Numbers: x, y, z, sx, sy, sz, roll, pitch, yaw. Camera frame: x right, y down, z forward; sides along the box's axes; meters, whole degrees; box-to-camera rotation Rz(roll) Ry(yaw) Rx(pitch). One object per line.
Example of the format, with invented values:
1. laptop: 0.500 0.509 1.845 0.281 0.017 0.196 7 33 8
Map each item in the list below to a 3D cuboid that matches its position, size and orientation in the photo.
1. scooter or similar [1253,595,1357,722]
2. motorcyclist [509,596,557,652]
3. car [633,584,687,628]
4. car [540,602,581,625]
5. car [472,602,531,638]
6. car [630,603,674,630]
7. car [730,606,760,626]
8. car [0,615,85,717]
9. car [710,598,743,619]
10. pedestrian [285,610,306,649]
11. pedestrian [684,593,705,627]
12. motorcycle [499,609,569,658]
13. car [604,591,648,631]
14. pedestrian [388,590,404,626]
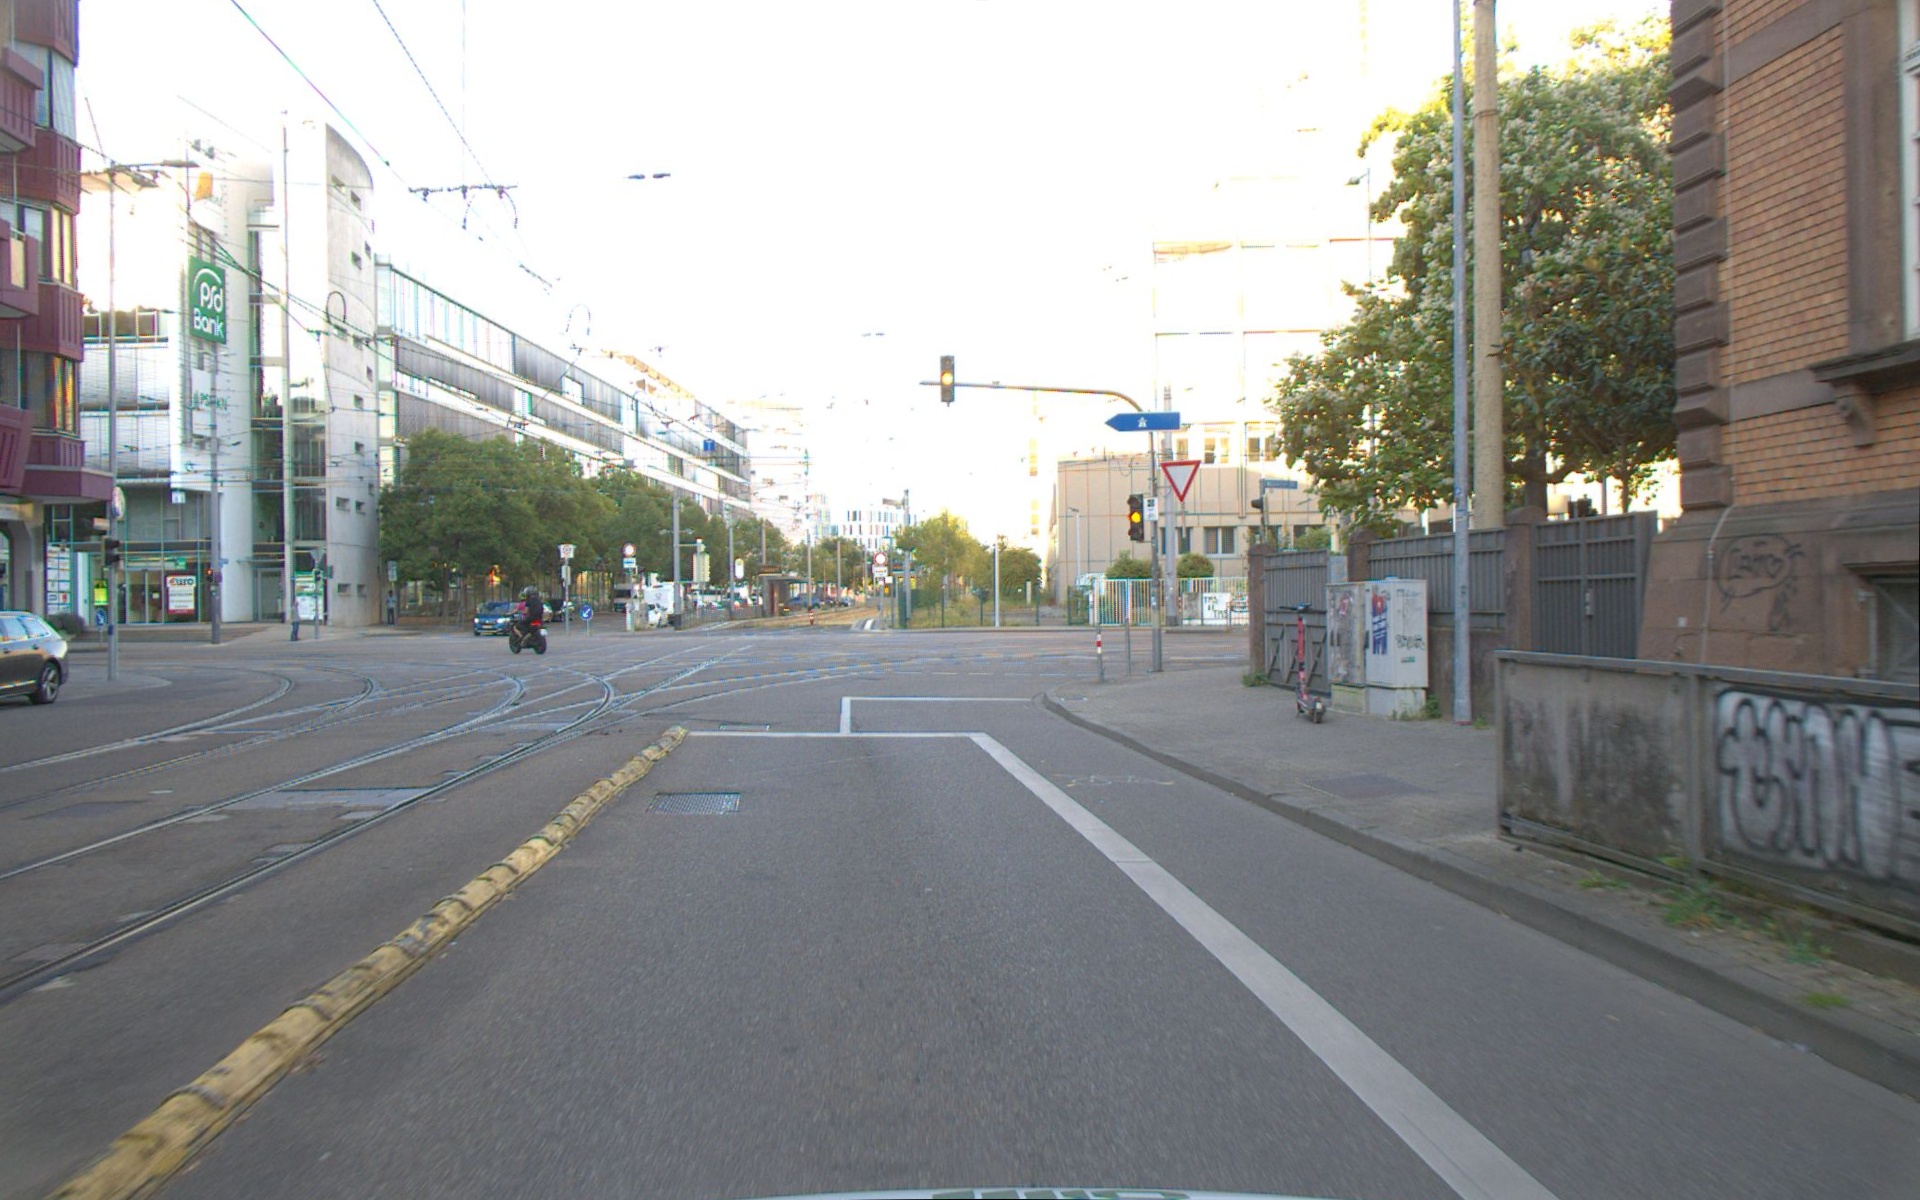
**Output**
1. scooter or similar: 3.725 0.602 17.961 0.629 1.288 1.581 -3 0 -5
2. motorcyclist: -11.664 0.658 45.182 0.823 1.499 1.189 -1 0 -41
3. car: -18.303 0.345 101.176 2.411 2.526 5.806 -1 0 -2
4. car: -27.769 0.936 115.141 1.648 1.528 4.240 -1 0 2
5. car: -23.539 1.022 85.026 1.647 1.729 4.241 -1 0 3
6. car: -17.772 0.920 95.485 1.648 1.464 4.127 -1 0 1
7. car: -16.767 1.245 128.963 1.648 1.464 4.127 -1 0 1
8. car: -15.105 0.995 24.635 1.816 1.482 5.080 -1 0 -5
9. car: -17.019 0.581 120.663 1.648 1.464 4.127 -1 0 1
10. pedestrian: -29.832 1.318 74.257 0.534 1.741 0.660 -1 0 11
11. pedestrian: -16.409 0.614 102.341 1.027 2.066 0.976 -1 0 -26
12. motorcycle: -11.638 0.903 45.135 0.824 1.261 2.453 -1 0 -41
13. car: -27.625 0.842 136.916 2.155 3.207 6.144 -1 0 2
14. pedestrian: -30.960 0.419 90.794 0.650 1.956 0.547 -2 0 -10
